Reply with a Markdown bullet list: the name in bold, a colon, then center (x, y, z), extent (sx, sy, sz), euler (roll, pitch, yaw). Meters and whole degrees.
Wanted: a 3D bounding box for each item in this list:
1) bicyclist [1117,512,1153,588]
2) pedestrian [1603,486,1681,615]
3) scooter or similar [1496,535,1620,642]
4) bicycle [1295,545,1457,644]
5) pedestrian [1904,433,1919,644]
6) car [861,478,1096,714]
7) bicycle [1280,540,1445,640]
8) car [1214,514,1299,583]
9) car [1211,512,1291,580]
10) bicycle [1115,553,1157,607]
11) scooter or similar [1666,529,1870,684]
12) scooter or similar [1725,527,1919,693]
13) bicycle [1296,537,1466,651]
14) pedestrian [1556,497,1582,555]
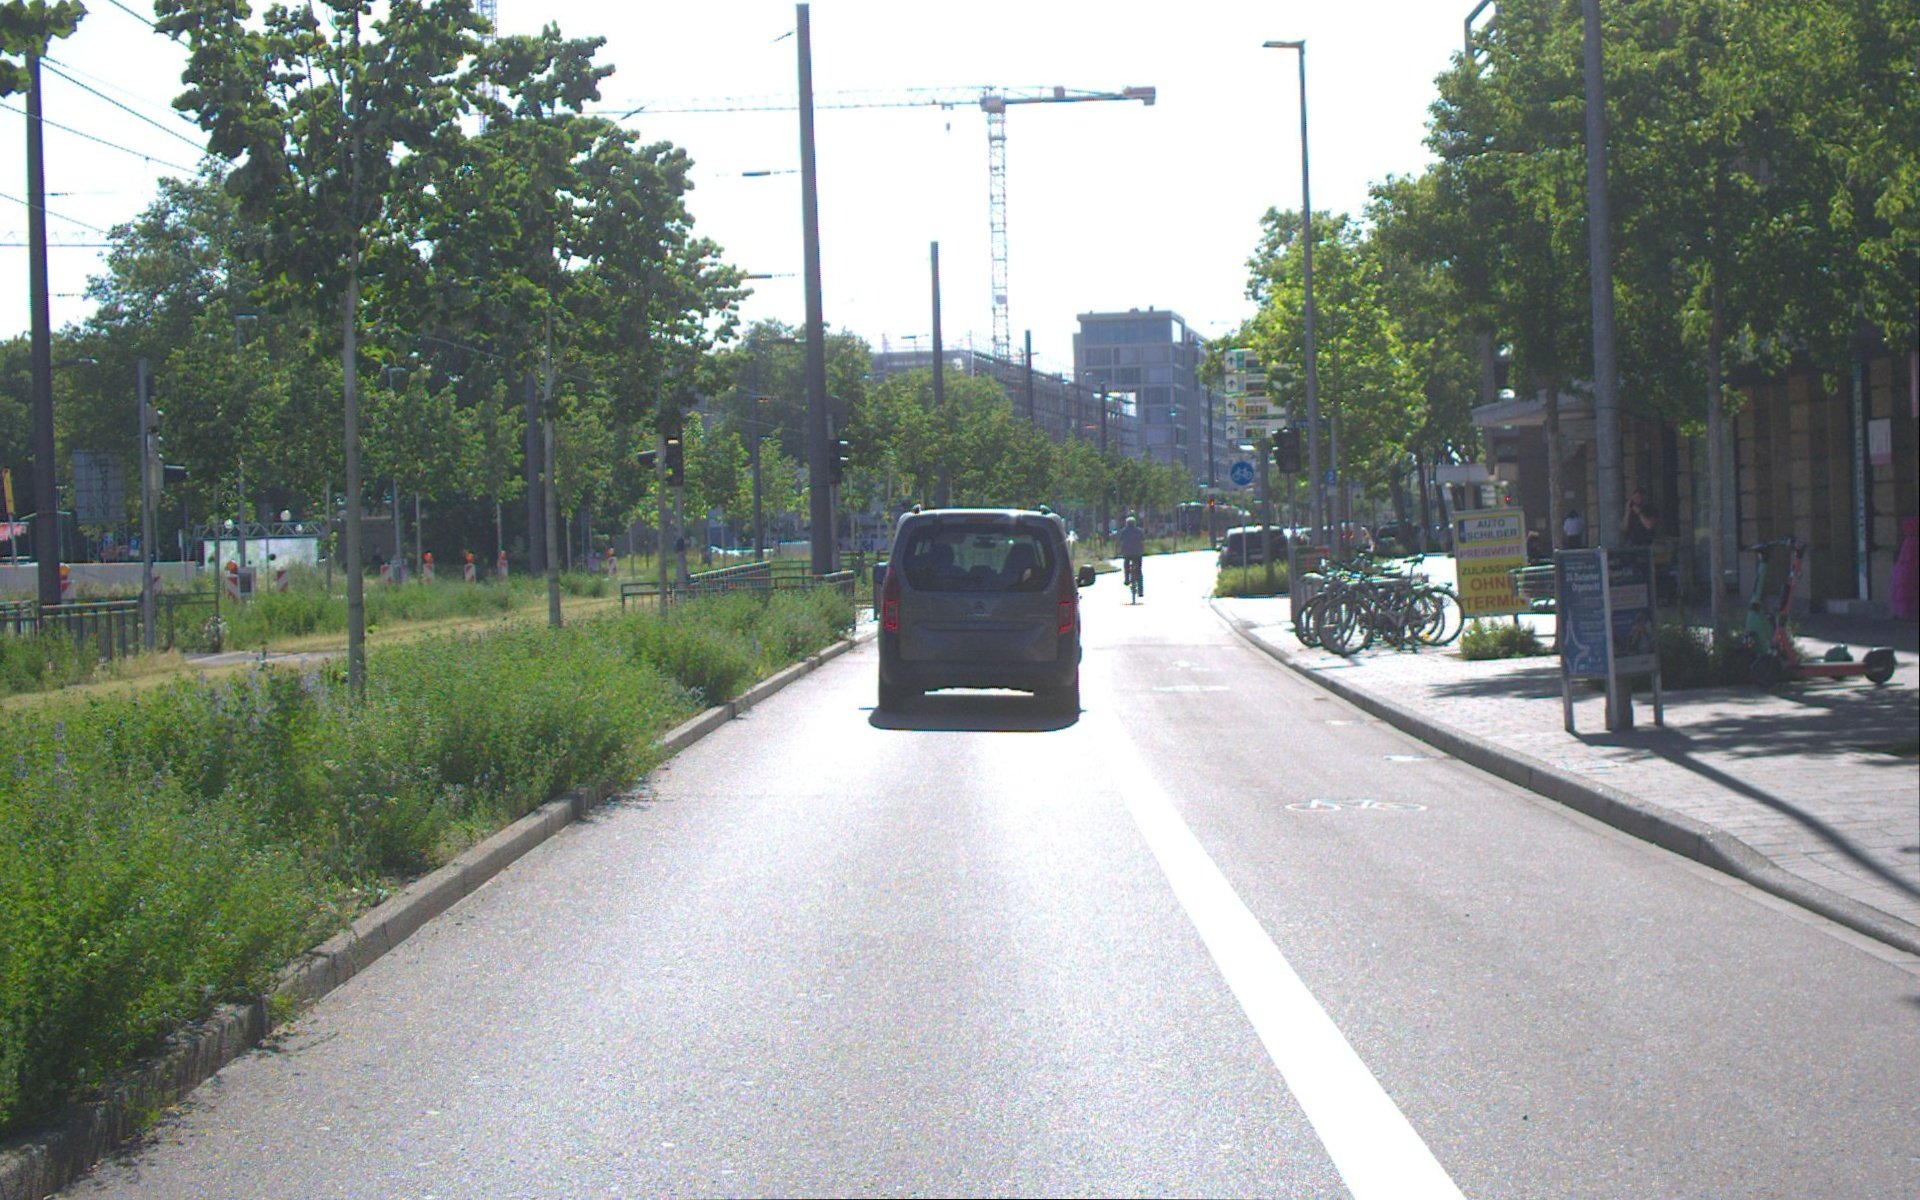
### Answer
- **bicyclist**: center (3.671, -1.044, 72.152), extent (0.683, 1.579, 0.840), euler (-1, 1, -1)
- **pedestrian**: center (9.427, -0.676, 47.545), extent (0.844, 1.736, 0.886), euler (-2, 0, 1)
- **scooter or similar**: center (6.636, -0.132, 38.207), extent (1.220, 1.102, 0.783), euler (-3, 2, 3)
- **bicycle**: center (5.150, -0.073, 42.598), extent (1.824, 1.075, 0.665), euler (-4, 1, -6)
- **pedestrian**: center (9.613, -0.594, 32.955), extent (0.817, 2.007, 1.046), euler (0, -2, 0)
- **car**: center (0.155, -0.051, 31.370), extent (1.993, 2.007, 4.000), euler (0, 0, 0)
- **bicycle**: center (5.157, -0.127, 44.114), extent (1.915, 1.117, 0.665), euler (-5, 1, -6)
- **car**: center (7.170, -1.233, 83.225), extent (1.989, 1.632, 4.189), euler (0, 0, 5)
- **car**: center (7.585, -1.402, 89.539), extent (2.022, 1.716, 4.118), euler (0, 0, 5)
- **bicycle**: center (3.683, -0.421, 72.073), extent (0.701, 1.087, 2.277), euler (-1, 1, -1)
- **scooter or similar**: center (6.623, 0.050, 28.207), extent (1.473, 1.212, 0.602), euler (2, 1, -10)
- **scooter or similar**: center (6.955, 0.069, 27.465), extent (1.473, 1.212, 0.602), euler (-4, 2, -4)
- **bicycle**: center (5.029, -0.078, 41.063), extent (1.878, 1.229, 0.500), euler (-4, 1, -6)
- **pedestrian**: center (17.721, -2.159, 100.095), extent (0.700, 1.647, 0.724), euler (-1, 1, 8)
